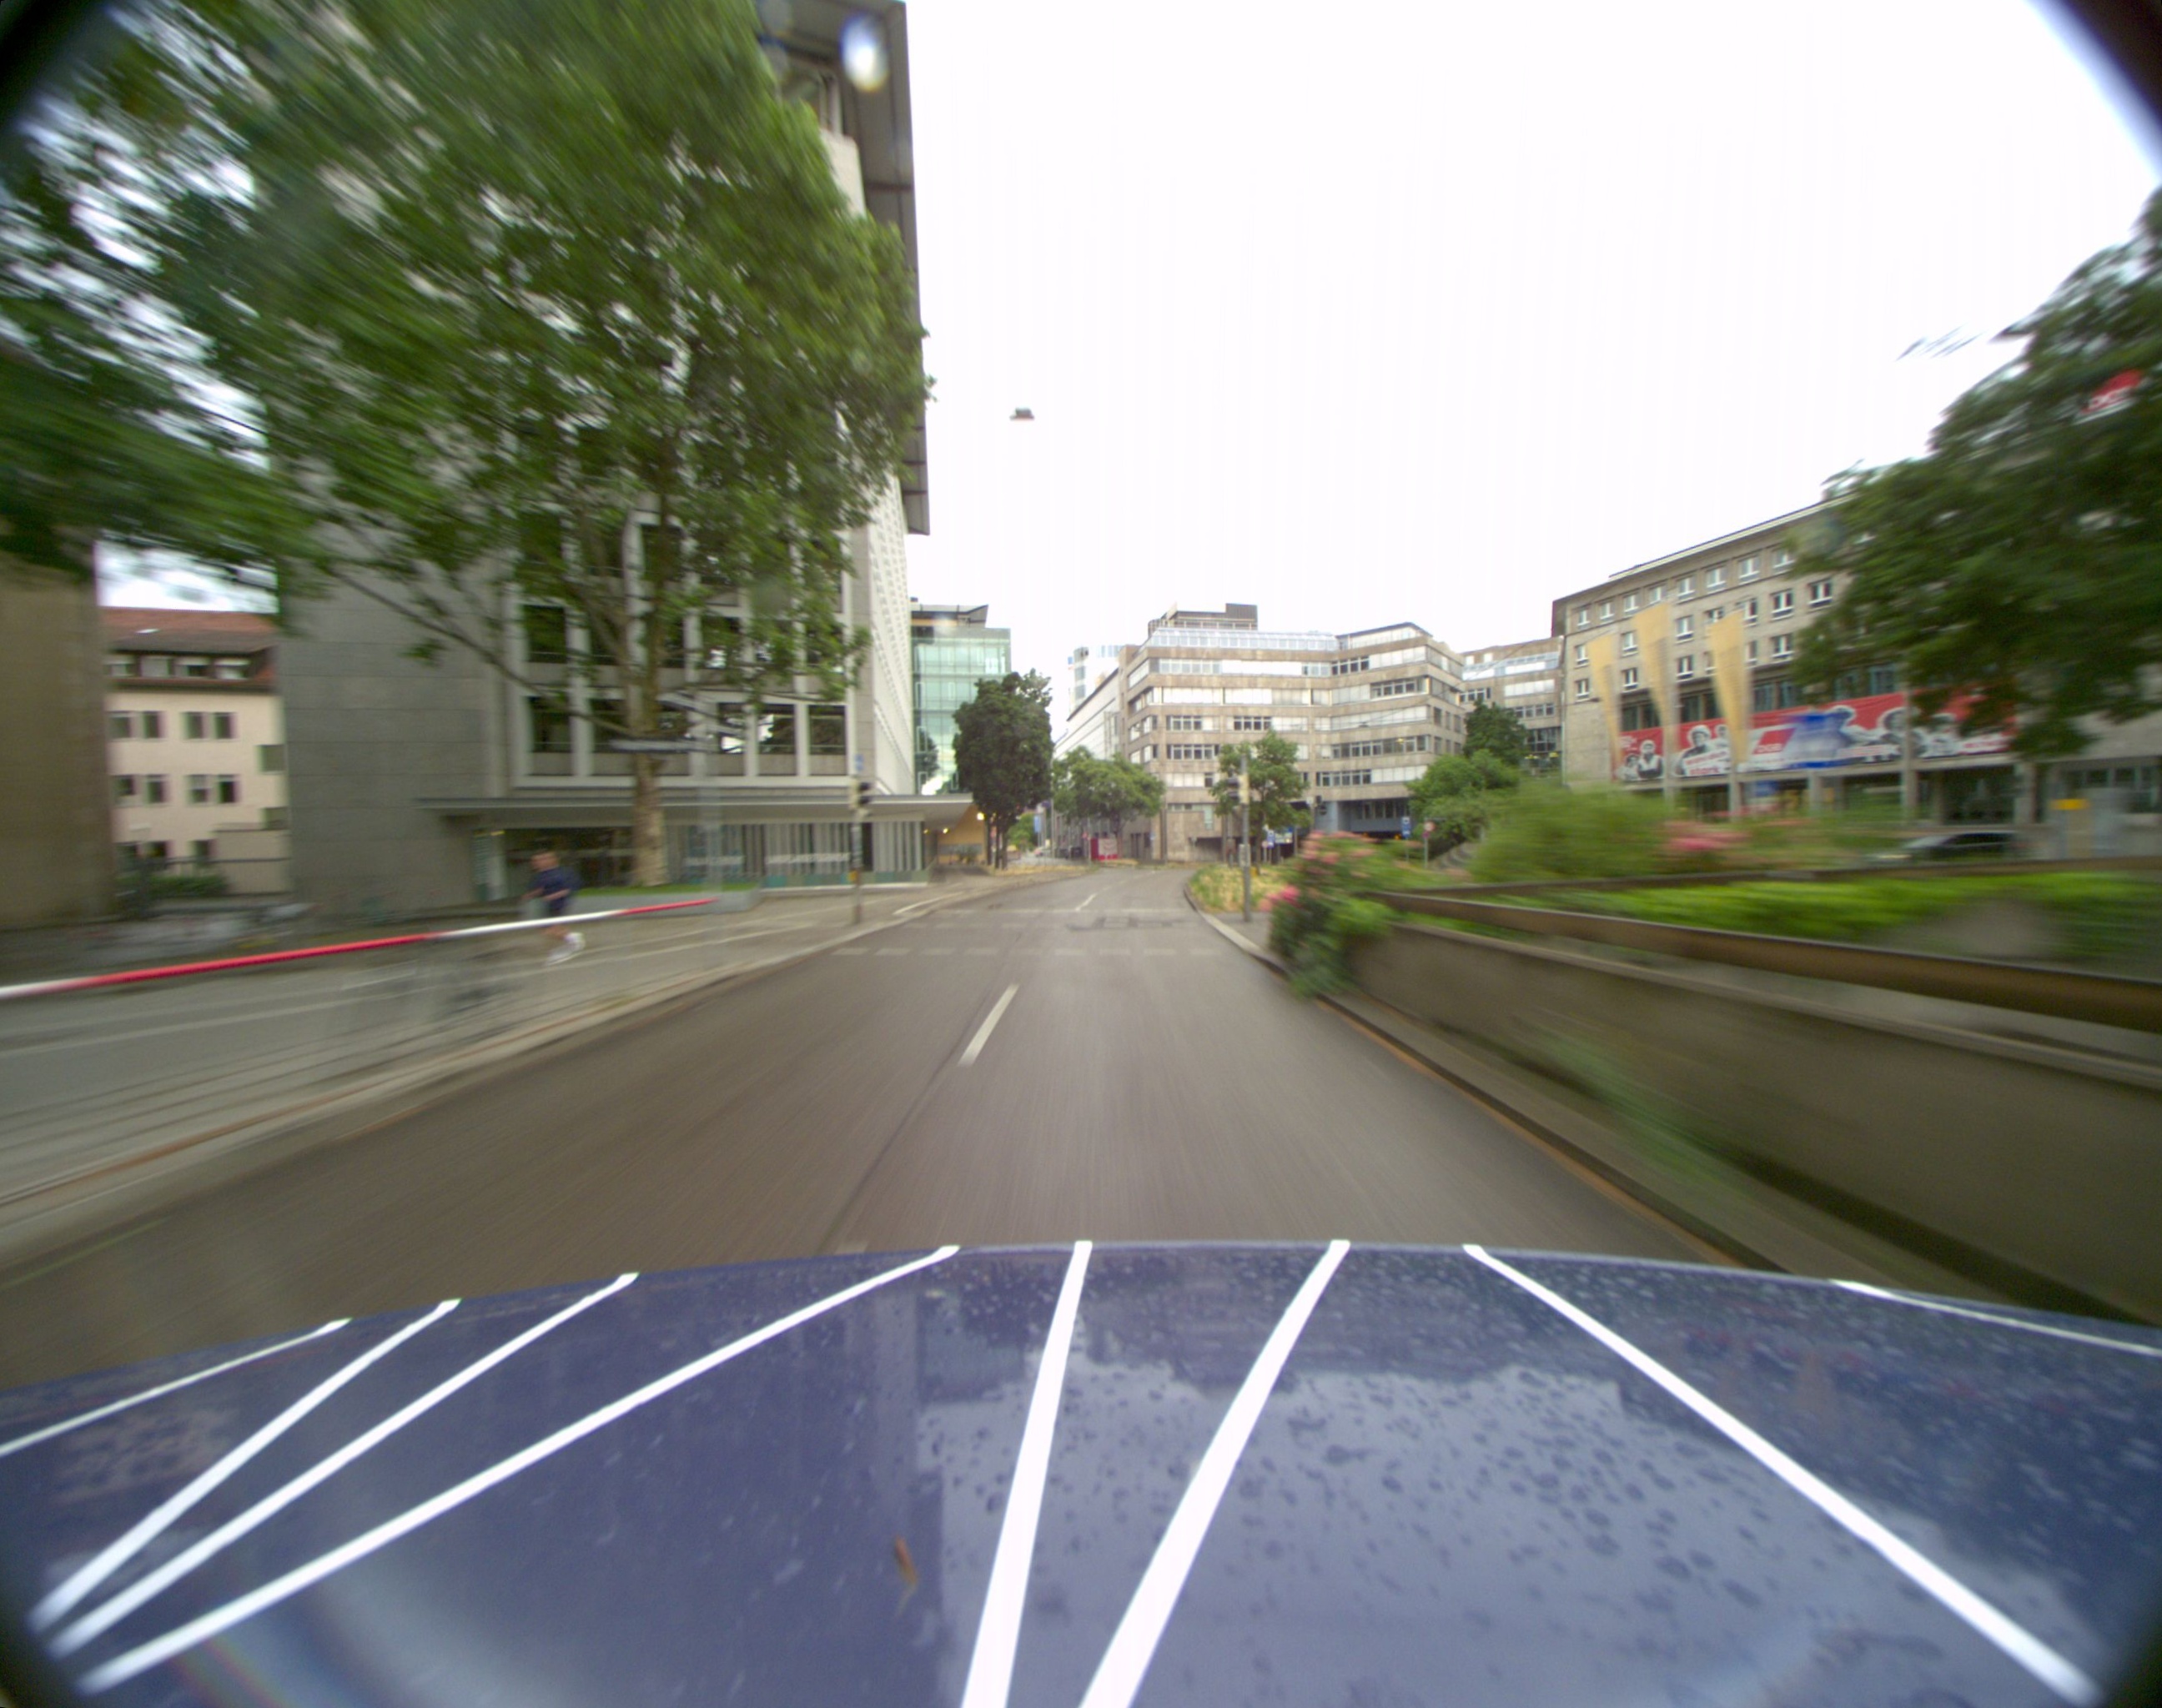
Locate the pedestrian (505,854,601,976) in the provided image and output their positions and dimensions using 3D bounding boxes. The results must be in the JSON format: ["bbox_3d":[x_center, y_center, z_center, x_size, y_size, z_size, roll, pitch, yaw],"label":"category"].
[{"bbox_3d":[-7.981,0.891,11.522,0.781,1.761,0.863,-1,1,4],"label":"pedestrian"}]

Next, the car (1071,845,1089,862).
[{"bbox_3d":[-0.189,-0.099,99.180,1.999,2.068,3.998,-2,1,-4],"label":"car"}]

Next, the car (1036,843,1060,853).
[{"bbox_3d":[-5.815,-1.037,133.765,3.776,1.641,1.796,1,0,-24],"label":"car"}]

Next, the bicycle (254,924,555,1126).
[{"bbox_3d":[-4.707,1.110,5.504,0.490,1.006,1.927,-2,1,-3],"label":"bicycle"}]
